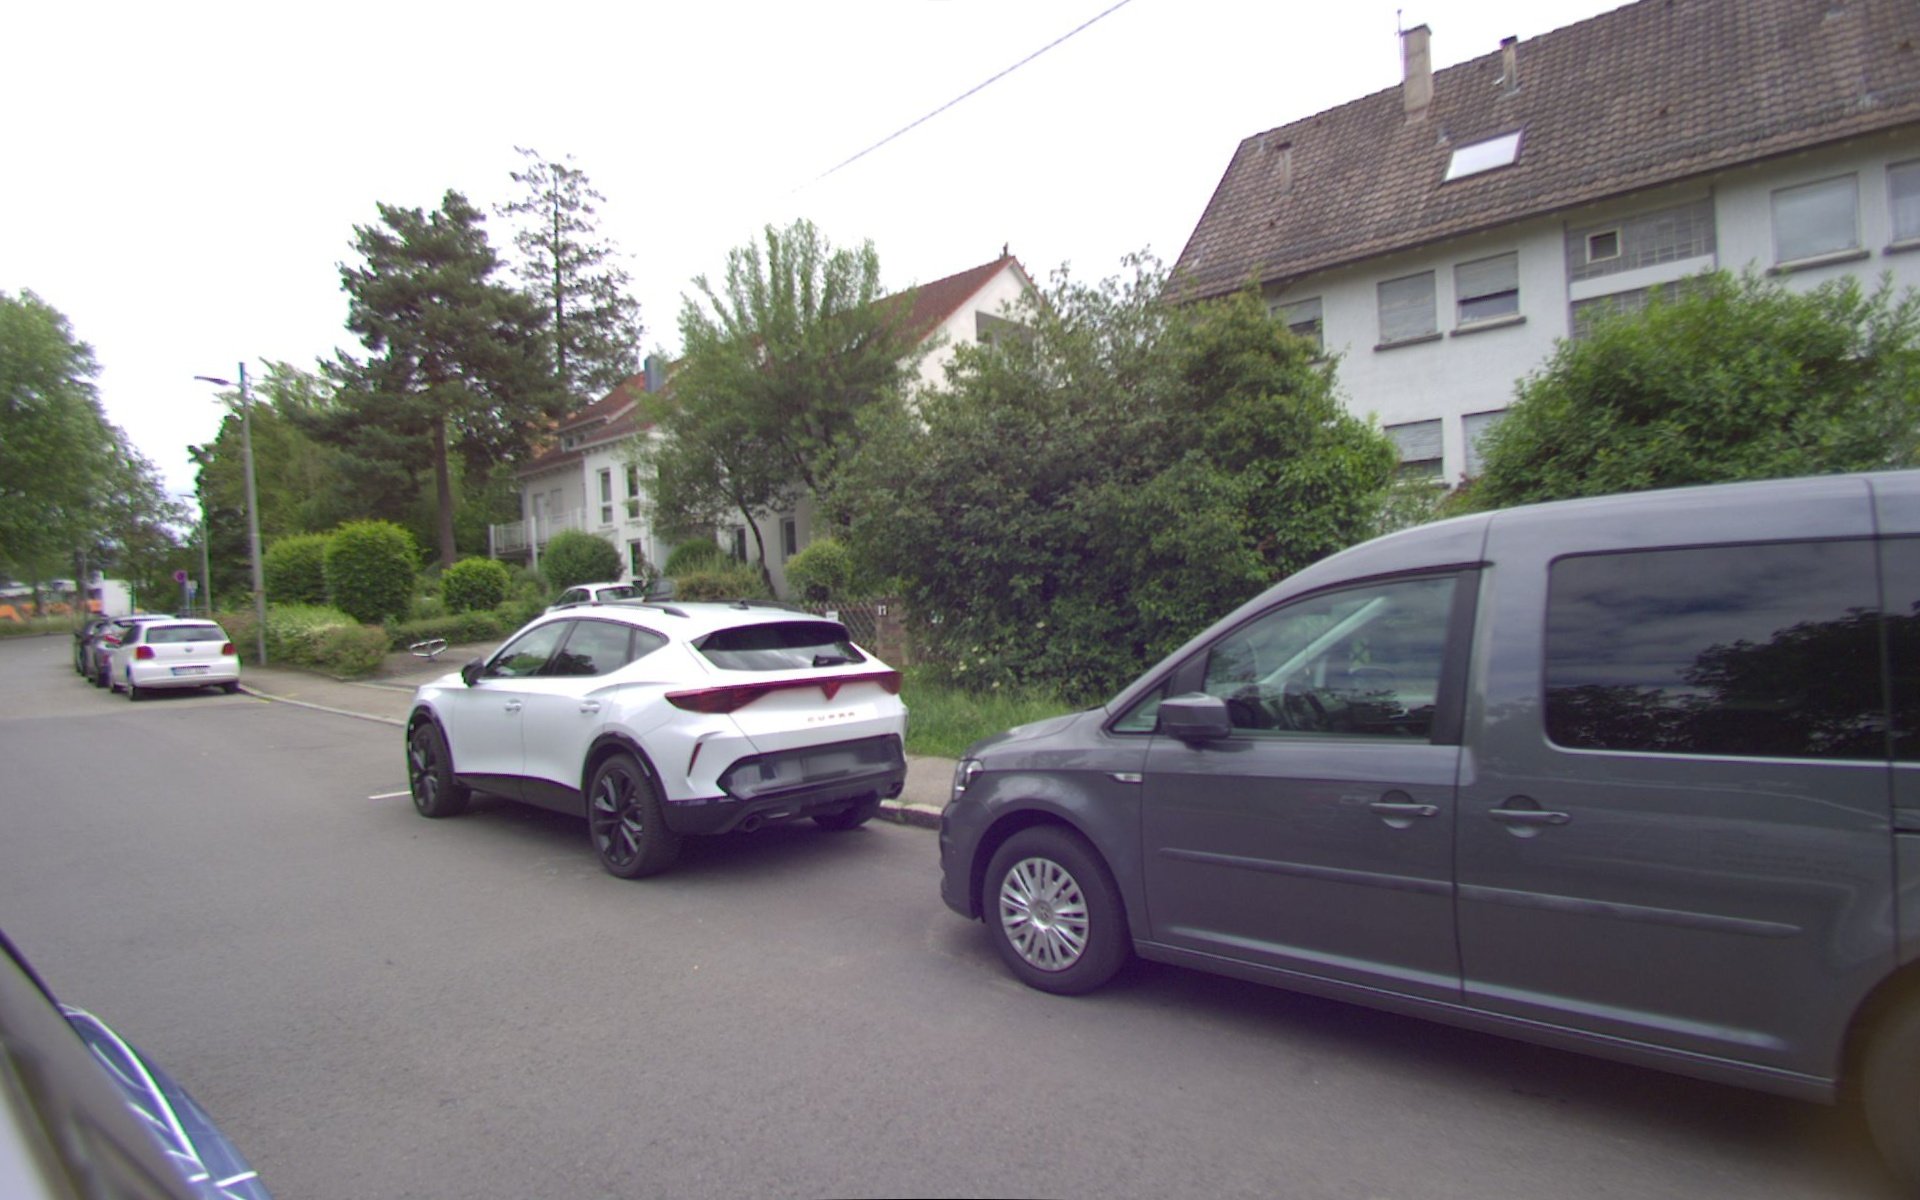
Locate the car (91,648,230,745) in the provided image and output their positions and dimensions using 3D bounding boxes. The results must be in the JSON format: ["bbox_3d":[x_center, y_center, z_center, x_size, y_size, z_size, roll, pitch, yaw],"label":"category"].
[{"bbox_3d":[-15.969,1.836,20.163,3.499,1.394,1.650,3,5,43],"label":"car"}]

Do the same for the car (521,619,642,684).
[{"bbox_3d":[-10.235,1.341,27.226,1.667,1.500,3.713,-5,2,-43],"label":"car"}]

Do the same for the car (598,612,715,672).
[{"bbox_3d":[-8.778,1.172,29.124,1.667,1.500,3.714,-5,3,-43],"label":"car"}]

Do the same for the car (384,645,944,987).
[{"bbox_3d":[-2.145,1.089,6.655,3.998,1.522,1.634,-2,-1,41],"label":"car"}]

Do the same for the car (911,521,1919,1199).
[{"bbox_3d":[1.974,0.750,3.404,4.125,1.777,1.754,-3,-2,39],"label":"car"}]

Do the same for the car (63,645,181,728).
[{"bbox_3d":[-19.308,1.909,23.278,3.499,1.394,1.650,3,5,43],"label":"car"}]
